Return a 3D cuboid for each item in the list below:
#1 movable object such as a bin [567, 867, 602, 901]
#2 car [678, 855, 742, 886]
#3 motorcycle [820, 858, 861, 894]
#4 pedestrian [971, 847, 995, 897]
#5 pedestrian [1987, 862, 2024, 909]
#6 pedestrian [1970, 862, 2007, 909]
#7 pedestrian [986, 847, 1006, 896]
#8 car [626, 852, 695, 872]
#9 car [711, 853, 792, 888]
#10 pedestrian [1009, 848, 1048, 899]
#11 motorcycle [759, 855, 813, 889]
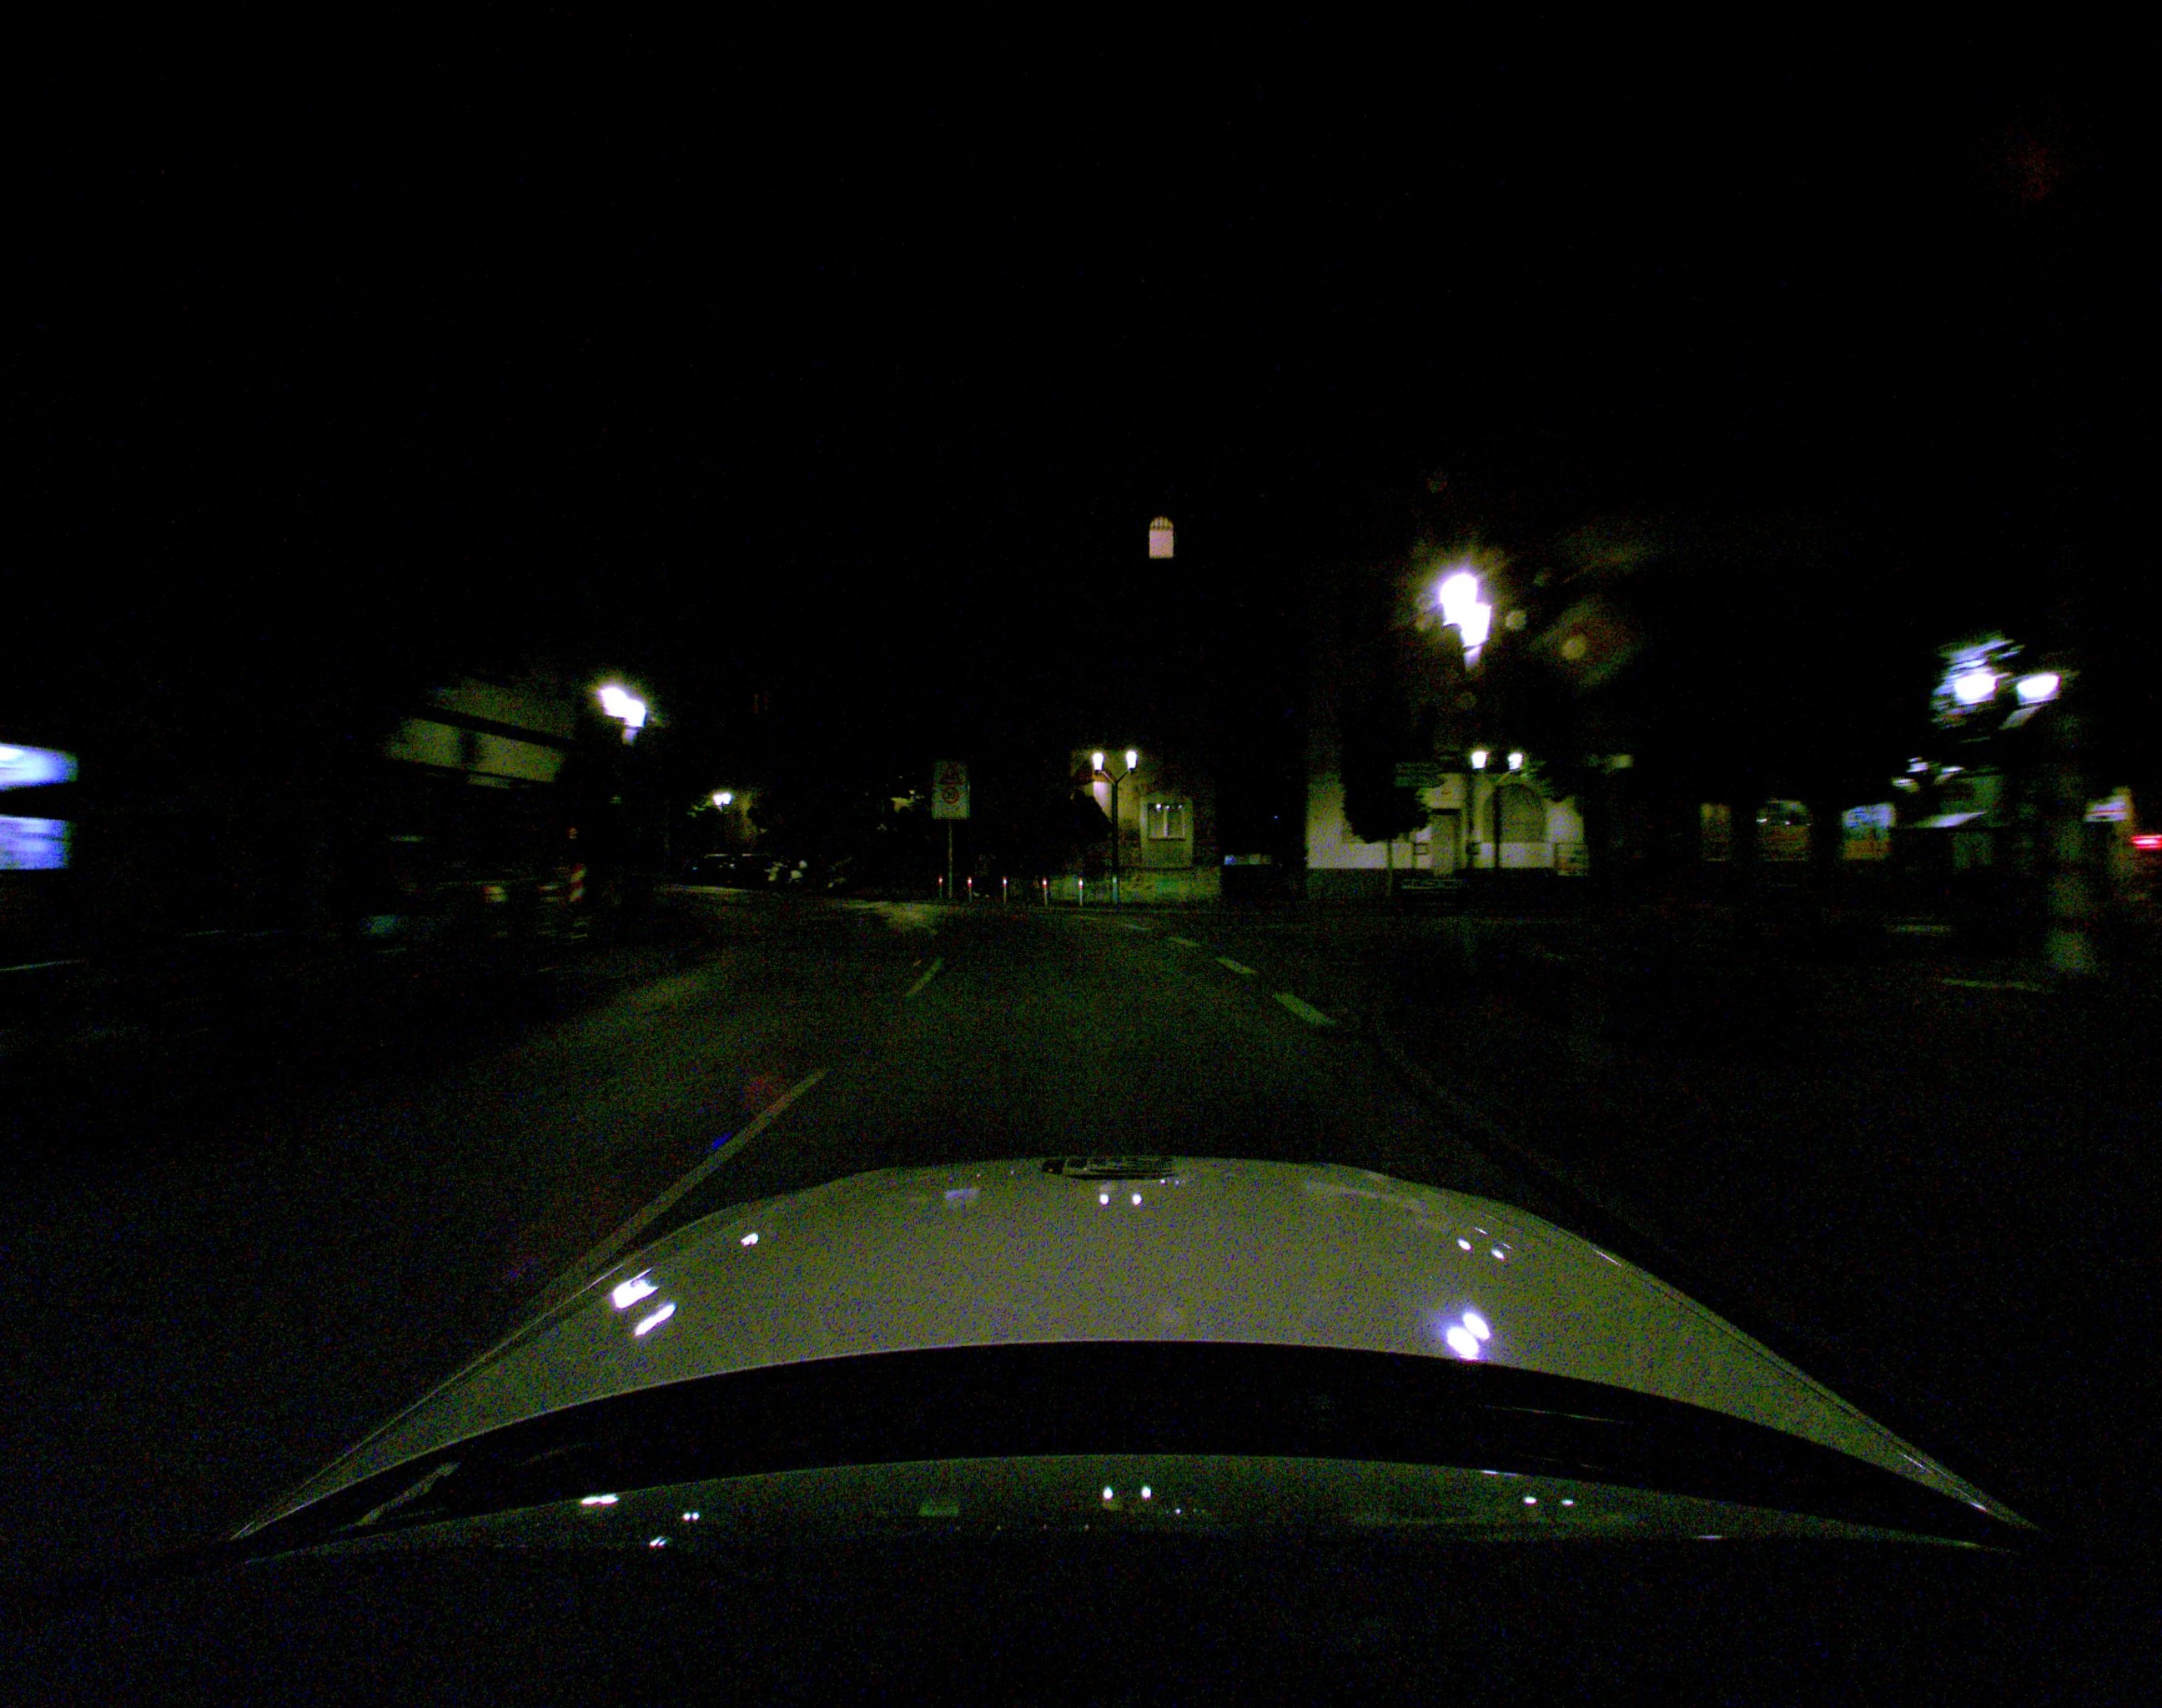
[{"bbox_3d":[-15.440,0.922,25.357,0.620,1.049,0.690,0,-2,4],"label":"movable object such as a bin"},{"bbox_3d":[-18.693,0.774,40.945,1.752,1.454,3.951,0,0,-44],"label":"car"},{"bbox_3d":[-9.378,0.825,31.798,0.756,1.353,1.950,0,0,9],"label":"motorcycle"},{"bbox_3d":[-3.413,0.611,28.429,0.511,1.709,0.696,0,0,-45],"label":"pedestrian"},{"bbox_3d":[26.146,0.882,23.038,0.463,1.299,0.515,0,0,1],"label":"pedestrian"},{"bbox_3d":[25.669,0.880,23.049,0.463,1.299,0.515,0,0,1],"label":"pedestrian"},{"bbox_3d":[-3.034,0.616,29.093,0.481,1.709,0.564,0,0,-45],"label":"pedestrian"},{"bbox_3d":[-30.638,0.557,59.403,1.829,1.422,4.052,-2,-1,43],"label":"car"},{"bbox_3d":[-15.138,0.725,37.315,4.411,1.501,1.748,0,0,43],"label":"car"},{"bbox_3d":[-1.701,0.635,26.573,0.954,1.631,0.815,0,-1,35],"label":"pedestrian"},{"bbox_3d":[-12.889,0.766,35.621,0.912,1.406,2.073,0,2,35],"label":"motorcycle"}]
